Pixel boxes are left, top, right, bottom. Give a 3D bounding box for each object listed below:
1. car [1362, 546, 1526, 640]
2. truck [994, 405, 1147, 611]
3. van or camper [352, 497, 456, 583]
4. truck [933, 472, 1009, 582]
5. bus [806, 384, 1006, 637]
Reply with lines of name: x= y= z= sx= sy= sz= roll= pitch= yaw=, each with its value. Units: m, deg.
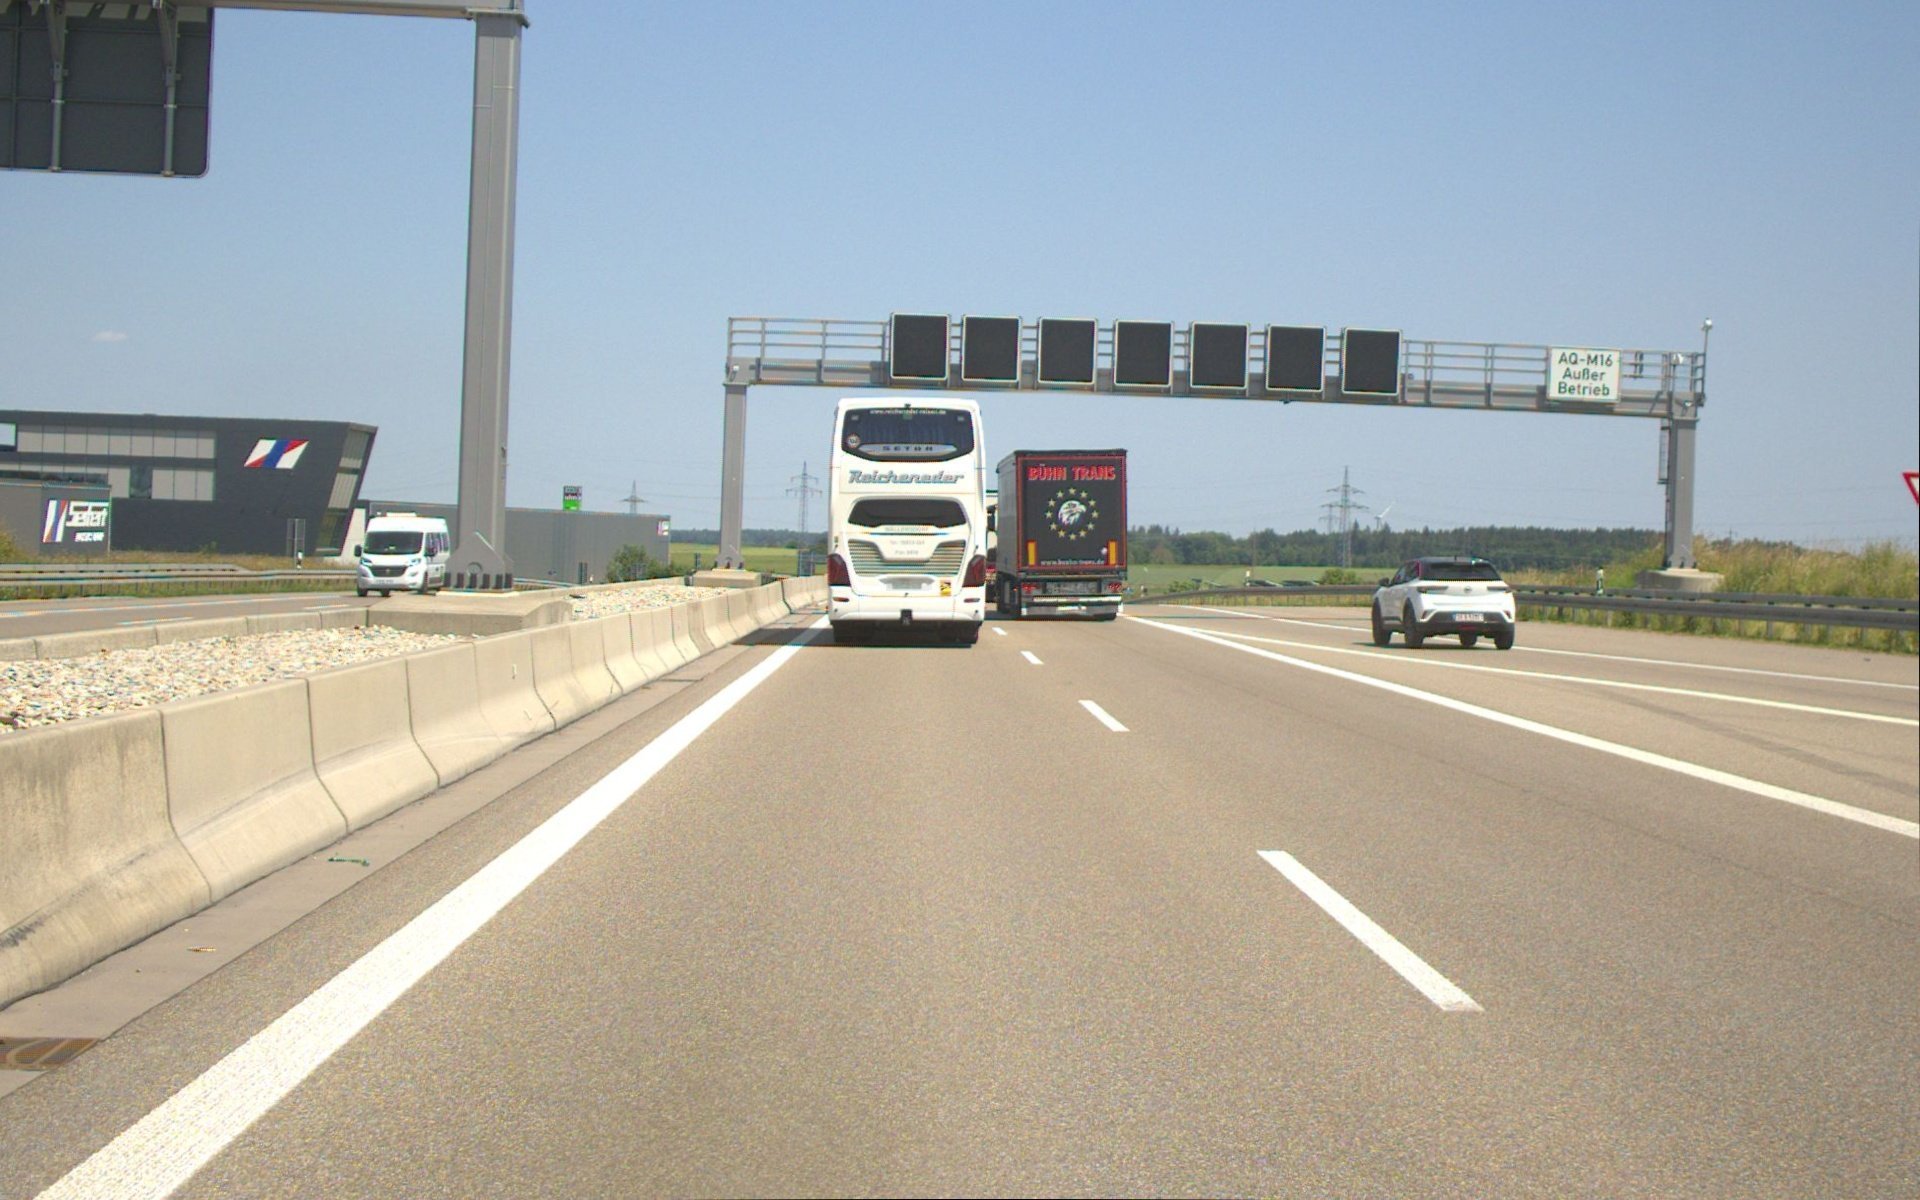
car: x=8.256 y=-0.147 z=58.986 sx=1.890 sy=1.524 sz=4.263 roll=1 pitch=1 yaw=-4
truck: x=2.598 y=-2.084 z=85.322 sx=3.379 sy=4.449 sz=13.566 roll=2 pitch=-1 yaw=1
van or camper: x=-17.182 y=-1.848 z=106.461 sx=2.319 sy=2.549 sz=6.316 roll=1 pitch=1 yaw=-1
truck: x=0.358 y=-2.574 z=122.420 sx=2.437 sy=3.776 sz=6.494 roll=1 pitch=1 yaw=-2
bus: x=-1.060 y=-1.559 z=59.061 sx=2.980 sy=3.961 sz=9.107 roll=1 pitch=2 yaw=-3
